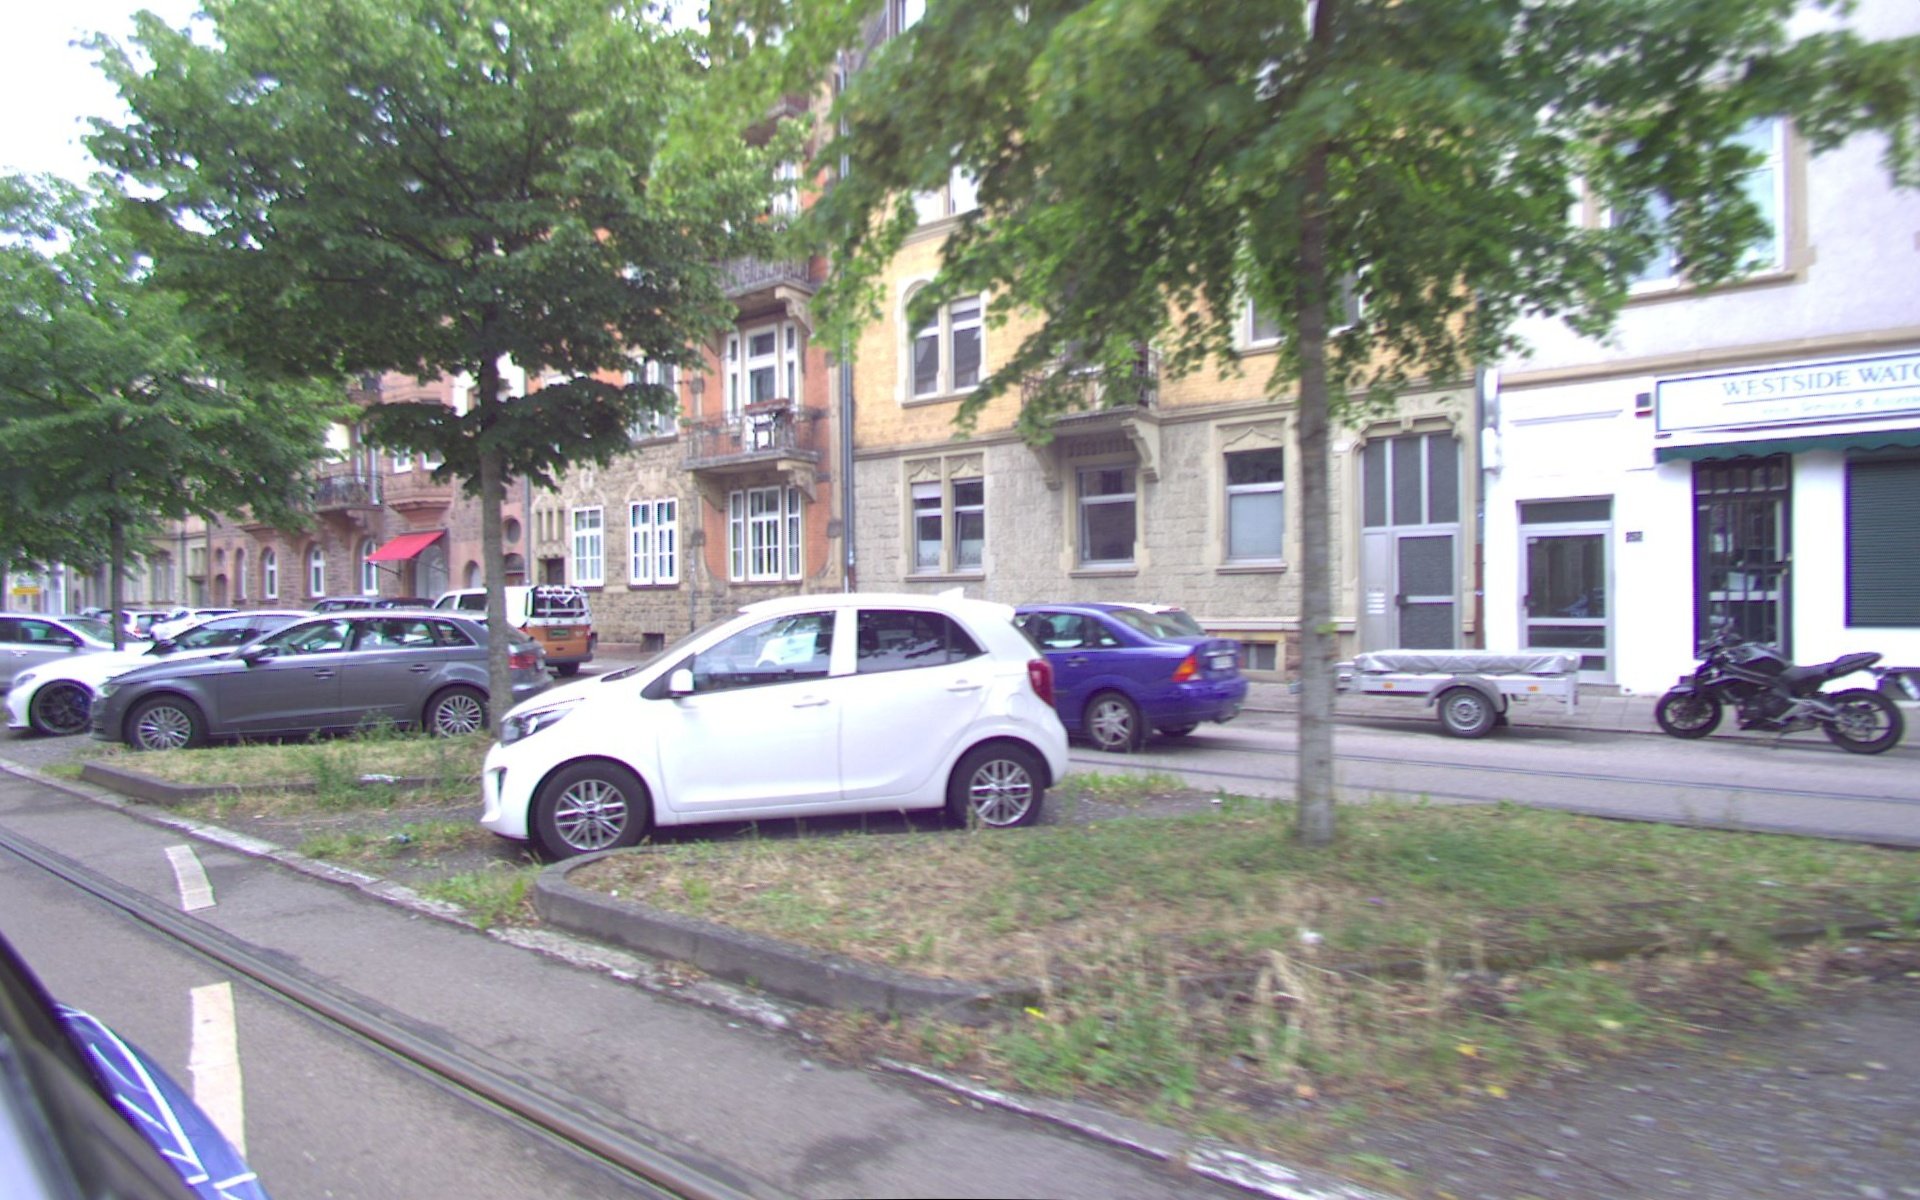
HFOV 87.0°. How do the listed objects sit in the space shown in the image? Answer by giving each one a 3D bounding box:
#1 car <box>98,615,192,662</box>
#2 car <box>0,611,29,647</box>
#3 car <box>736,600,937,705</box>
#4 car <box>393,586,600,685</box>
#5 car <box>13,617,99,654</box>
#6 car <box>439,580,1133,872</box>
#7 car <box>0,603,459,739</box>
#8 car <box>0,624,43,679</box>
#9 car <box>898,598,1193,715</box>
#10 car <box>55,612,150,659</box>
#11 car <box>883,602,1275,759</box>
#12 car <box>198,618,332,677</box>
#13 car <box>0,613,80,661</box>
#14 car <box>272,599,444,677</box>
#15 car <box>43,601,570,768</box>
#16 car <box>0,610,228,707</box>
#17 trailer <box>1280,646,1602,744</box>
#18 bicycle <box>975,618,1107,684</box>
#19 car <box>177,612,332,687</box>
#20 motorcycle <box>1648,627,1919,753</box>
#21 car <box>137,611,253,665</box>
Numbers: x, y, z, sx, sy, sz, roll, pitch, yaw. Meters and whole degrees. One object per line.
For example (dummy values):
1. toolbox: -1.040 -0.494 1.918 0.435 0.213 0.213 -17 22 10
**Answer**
1. car: -28.856 1.325 35.818 3.714 1.571 1.647 -1 0 35
2. car: -46.069 1.367 48.132 4.263 1.692 1.789 -1 0 35
3. car: -2.038 0.805 16.629 2.943 1.562 1.621 -1 0 34
4. car: -10.301 0.730 22.347 5.082 1.967 1.865 -1 0 35
5. car: -37.935 1.448 42.431 4.220 1.449 1.789 -1 0 35
6. car: -1.021 0.654 6.475 3.799 1.474 1.694 -1 0 -12
7. car: -9.020 0.802 12.700 4.609 1.445 1.904 -1 0 -15
8. car: -23.685 1.215 23.009 3.898 1.211 1.672 -1 0 -11
9. car: 1.161 0.738 14.445 3.913 1.454 1.621 -1 0 34
10. car: -32.705 1.308 38.556 4.310 1.641 1.753 -1 0 35
11. car: 1.184 0.736 10.829 3.874 1.393 1.630 -1 0 35
12. car: -20.180 1.327 29.331 4.543 1.553 1.725 -1 0 35
13. car: -31.740 1.216 34.463 4.611 1.515 1.630 -1 0 35
14. car: -15.248 0.890 25.524 5.106 1.795 1.798 -1 0 35
15. car: -6.478 0.773 10.616 4.267 1.445 1.904 -1 0 -15
16. car: -15.104 0.954 17.097 4.049 1.495 1.802 -1 0 -14
17. trailer: 5.322 0.984 11.296 3.069 0.899 1.442 -1 -2 34
18. bicycle: 1.393 0.876 17.768 2.254 1.081 0.705 -1 0 34
19. car: -15.841 1.050 22.679 3.874 1.515 1.630 -1 0 35
20. motorcycle: 8.000 0.806 9.684 0.699 1.046 2.235 0 0 -37
21. car: -24.953 1.192 32.951 4.543 1.639 1.725 -1 0 35
